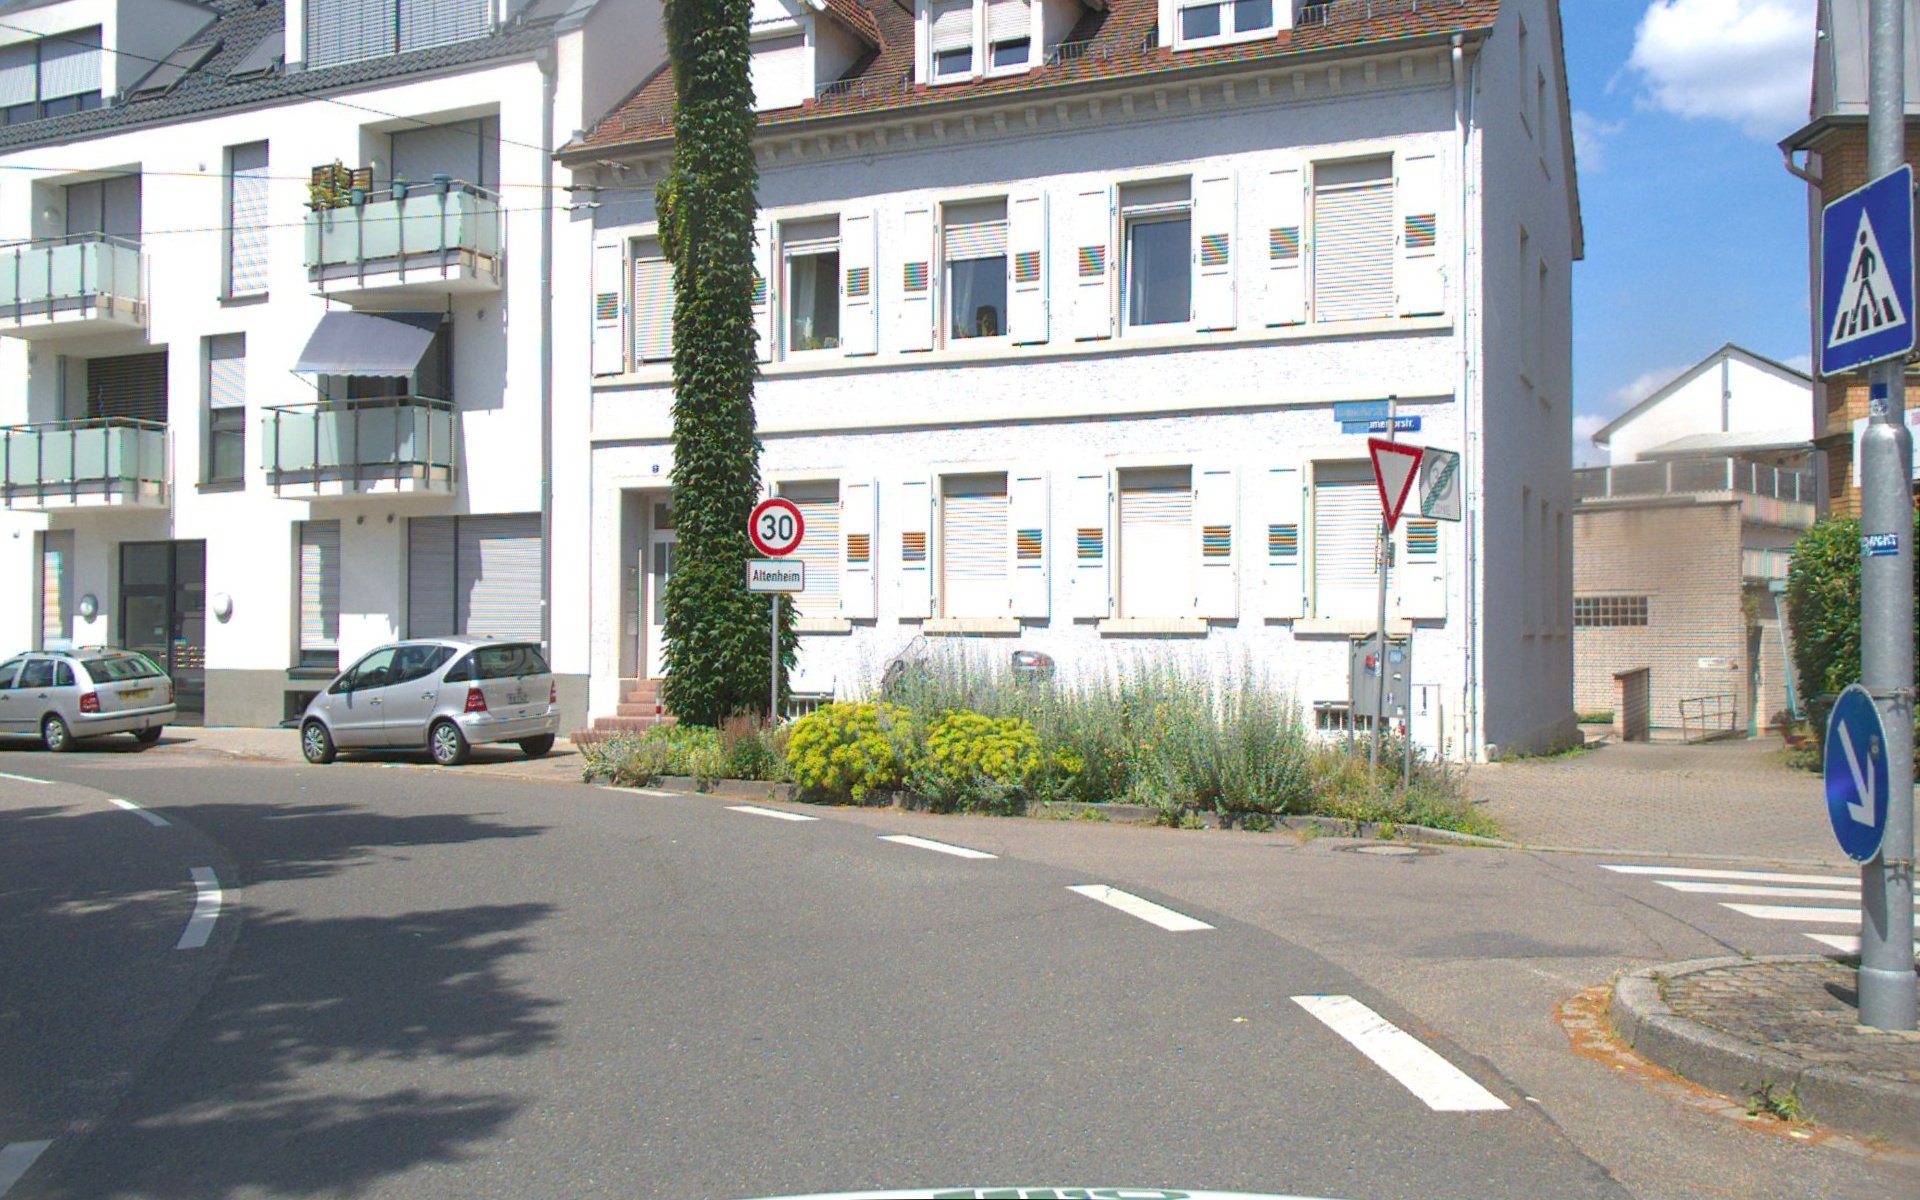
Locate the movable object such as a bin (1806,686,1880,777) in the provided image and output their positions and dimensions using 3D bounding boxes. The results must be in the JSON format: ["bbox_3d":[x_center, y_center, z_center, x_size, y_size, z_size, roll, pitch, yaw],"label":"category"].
[{"bbox_3d":[9.315,1.384,17.450,0.413,0.932,0.556,3,-3,-23],"label":"movable object such as a bin"}]

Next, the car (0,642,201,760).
[{"bbox_3d":[-13.591,1.481,25.253,3.822,1.491,1.659,0,3,29],"label":"car"}]

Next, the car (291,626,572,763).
[{"bbox_3d":[-6.985,1.211,21.799,3.541,1.614,1.580,0,-3,32],"label":"car"}]
